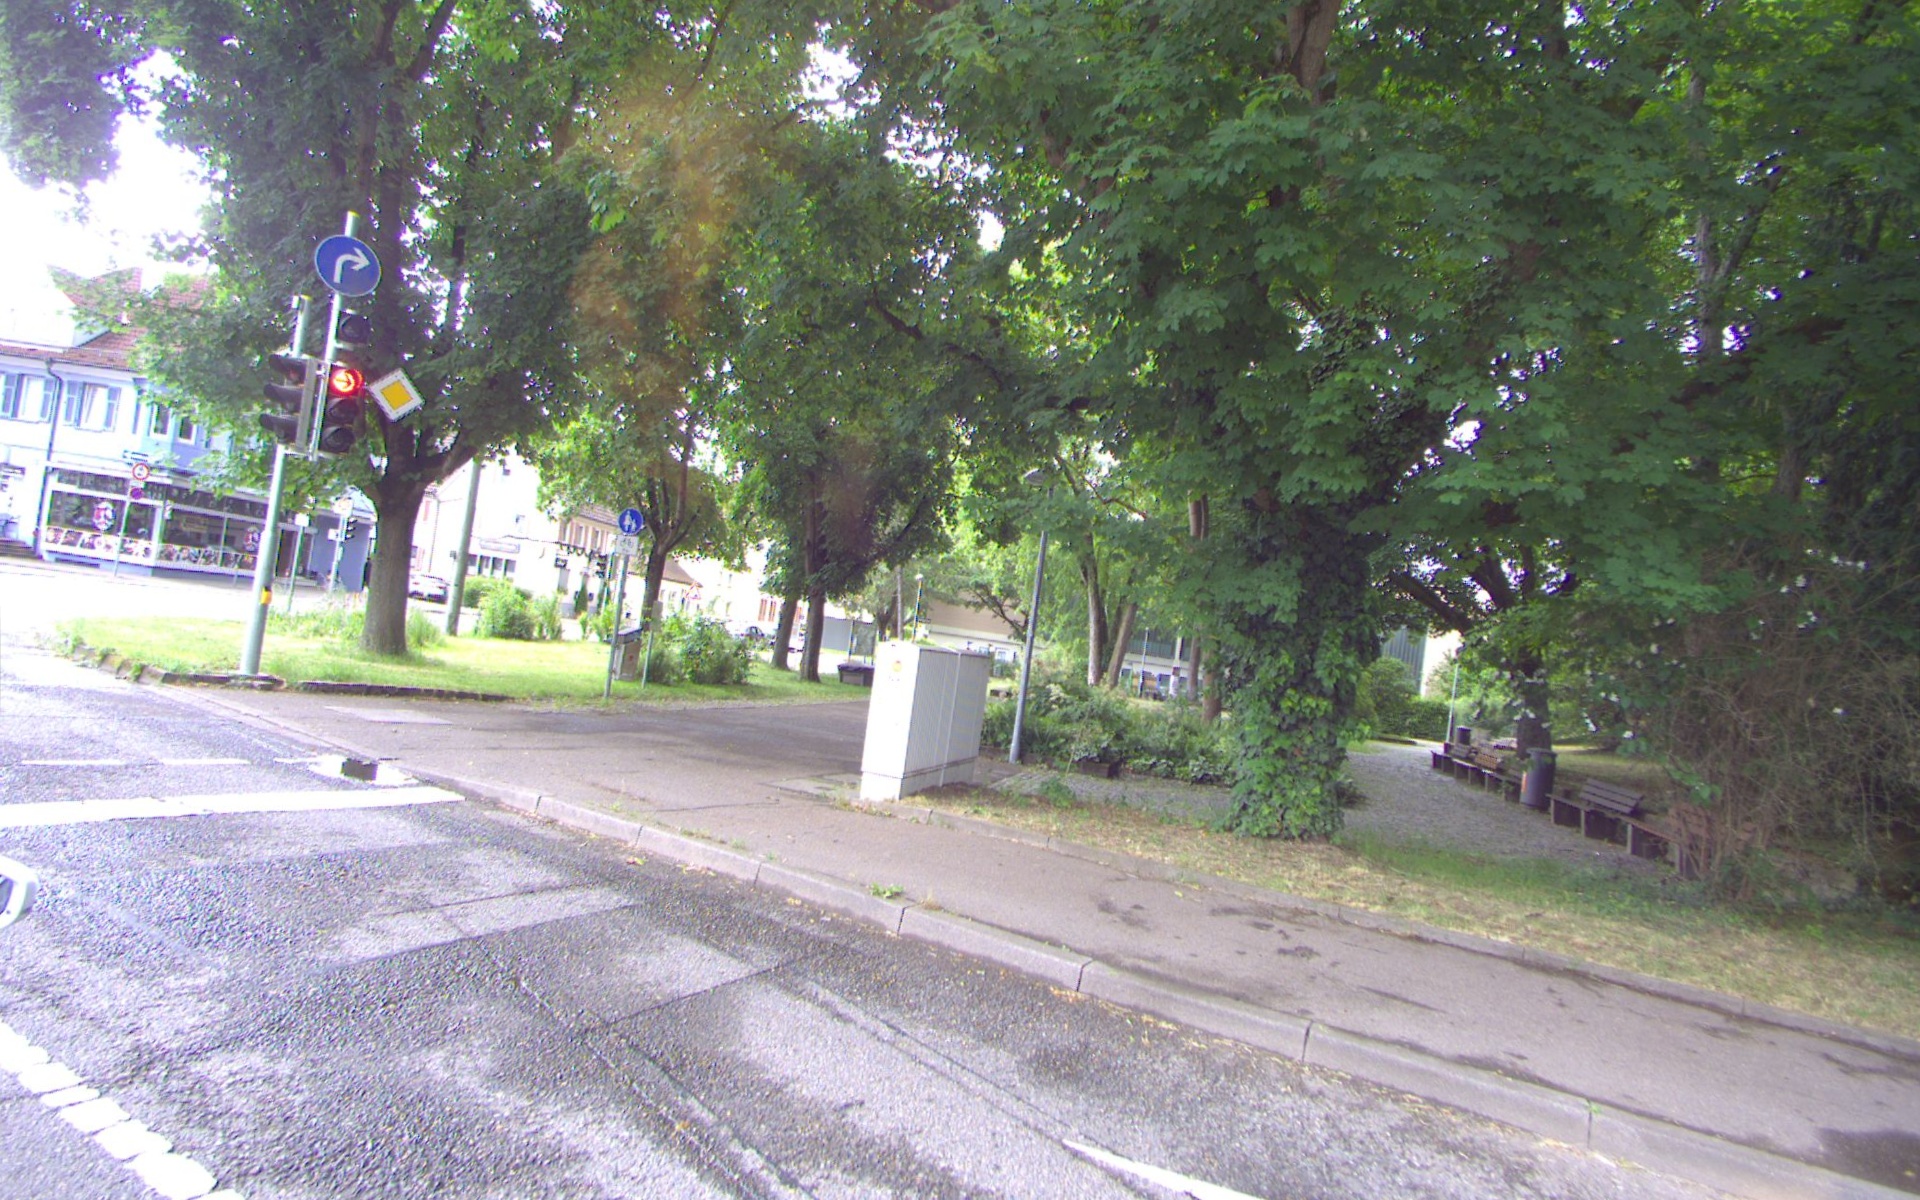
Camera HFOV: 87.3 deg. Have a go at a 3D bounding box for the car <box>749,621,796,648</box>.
[{"bbox_3d":[-11.161,2.069,60.106,1.530,1.336,3.514,7,-2,8],"label":"car"}]

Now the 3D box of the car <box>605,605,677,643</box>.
[{"bbox_3d":[-14.004,1.089,44.356,1.530,1.336,3.514,7,-2,9],"label":"car"}]

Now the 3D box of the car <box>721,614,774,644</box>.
[{"bbox_3d":[-11.562,1.596,54.821,1.530,1.336,3.514,7,-2,9],"label":"car"}]

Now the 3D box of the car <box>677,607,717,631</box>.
[{"bbox_3d":[-19.363,1.442,74.249,1.528,1.436,4.005,7,-2,4],"label":"car"}]

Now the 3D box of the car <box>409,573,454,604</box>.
[{"bbox_3d":[-27.864,-0.603,53.145,1.479,1.384,3.166,8,-2,-19],"label":"car"}]

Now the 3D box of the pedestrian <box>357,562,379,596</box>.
[{"bbox_3d":[-28.559,-1.010,48.528,0.451,1.535,0.587,7,-1,28],"label":"pedestrian"}]

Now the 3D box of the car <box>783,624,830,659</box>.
[{"bbox_3d":[-10.049,2.757,66.174,1.750,2.037,4.005,7,-2,7],"label":"car"}]

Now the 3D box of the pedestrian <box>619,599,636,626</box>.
[{"bbox_3d":[-21.091,0.802,63.812,0.600,1.668,0.610,7,-1,3],"label":"pedestrian"}]
